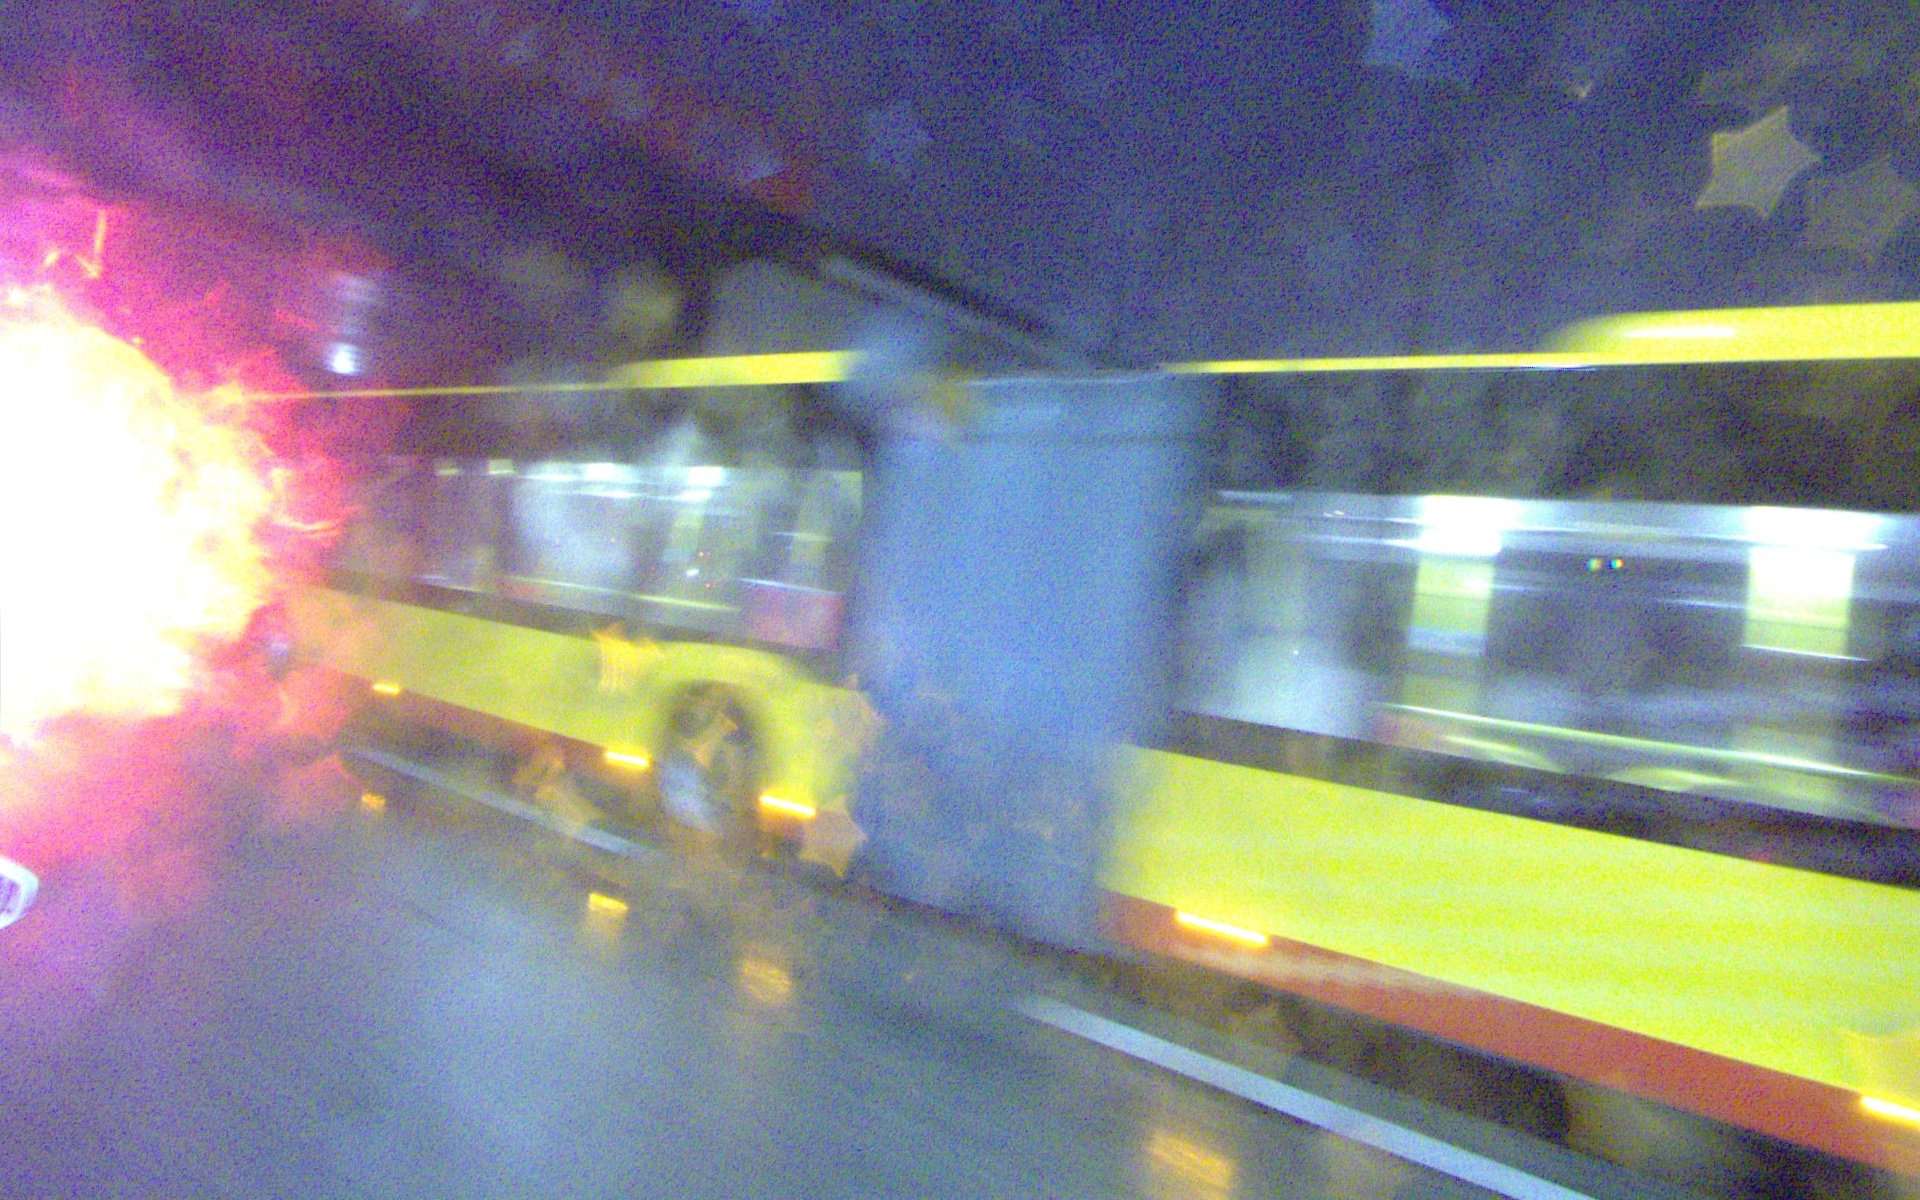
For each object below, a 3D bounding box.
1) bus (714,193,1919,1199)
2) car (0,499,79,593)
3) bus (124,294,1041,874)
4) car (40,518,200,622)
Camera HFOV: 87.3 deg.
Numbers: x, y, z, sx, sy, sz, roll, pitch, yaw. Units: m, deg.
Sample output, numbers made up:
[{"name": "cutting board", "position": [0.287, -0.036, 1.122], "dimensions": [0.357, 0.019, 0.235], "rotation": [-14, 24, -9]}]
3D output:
[{"name": "bus", "position": [3.425, 0.507, 4.440], "dimensions": [8.899, 3.249, 3.050], "rotation": [7, -2, 31]}, {"name": "car", "position": [-20.273, -1.254, 21.483], "dimensions": [3.948, 1.704, 1.784], "rotation": [7, -1, 45]}, {"name": "bus", "position": [-4.047, -0.352, 9.345], "dimensions": [8.904, 3.249, 3.048], "rotation": [7, -2, 34]}, {"name": "car", "position": [-15.402, -0.587, 18.372], "dimensions": [3.949, 1.519, 1.772], "rotation": [5, -2, 45]}]
